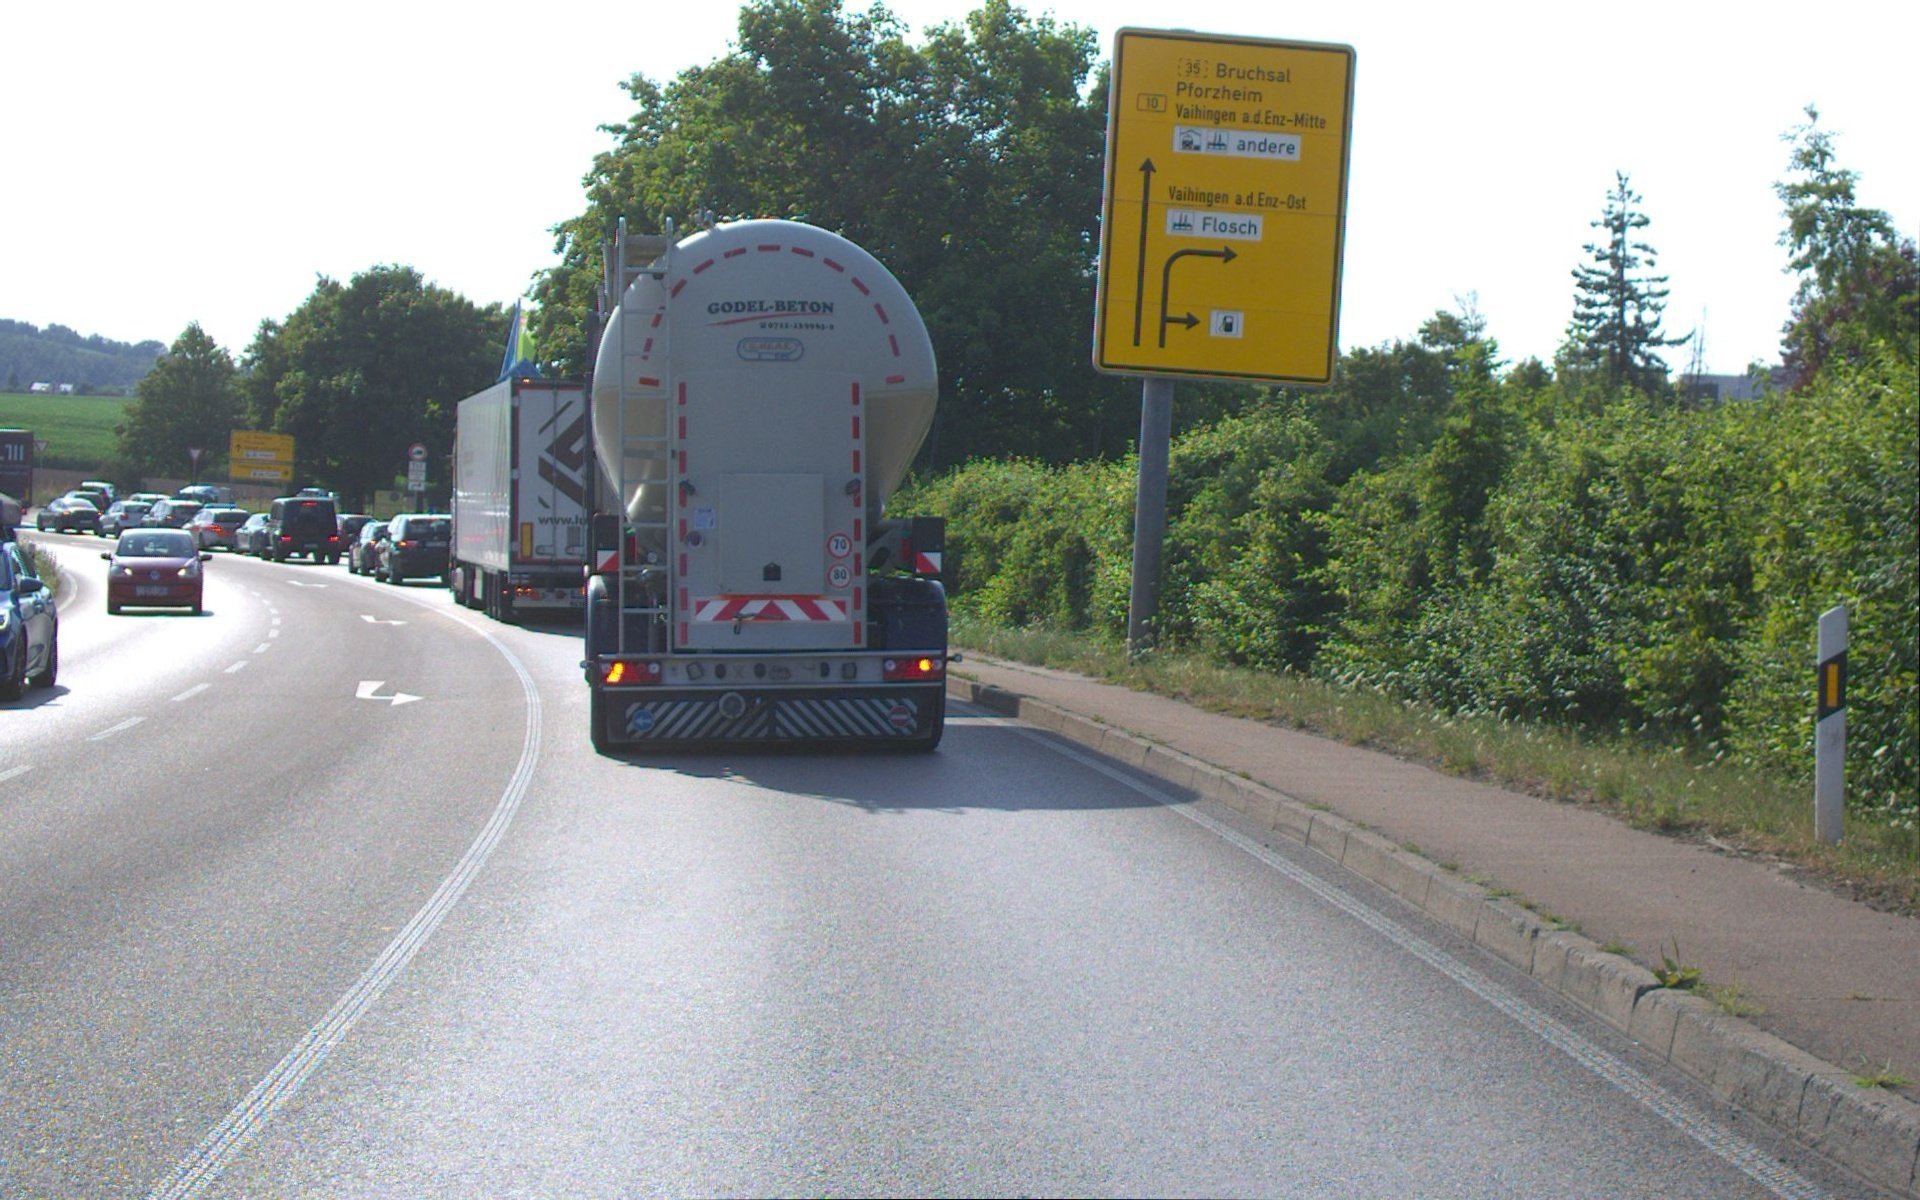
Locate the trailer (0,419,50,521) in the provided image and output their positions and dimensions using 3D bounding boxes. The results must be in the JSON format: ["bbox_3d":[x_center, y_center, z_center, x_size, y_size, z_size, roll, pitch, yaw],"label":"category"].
[{"bbox_3d":[-44.850,-5.904,155.125,3.375,4.335,14.295,1,1,-31],"label":"trailer"}]

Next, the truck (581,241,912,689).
[{"bbox_3d":[-2.135,-1.251,32.924,2.909,3.992,4.061,0,1,-7],"label":"truck"}]

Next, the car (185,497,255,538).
[{"bbox_3d":[-25.688,-2.879,119.306,1.580,1.336,3.426,1,1,-26],"label":"car"}]

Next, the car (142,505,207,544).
[{"bbox_3d":[-28.611,-2.765,125.130,1.580,1.336,3.426,1,1,-26],"label":"car"}]

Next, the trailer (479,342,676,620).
[{"bbox_3d":[-7.022,-2.054,61.312,2.954,4.300,14.179,2,1,-8],"label":"trailer"}]

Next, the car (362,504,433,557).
[{"bbox_3d":[-15.036,-1.877,91.804,1.580,1.336,3.427,2,1,-14],"label":"car"}]

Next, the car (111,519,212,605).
[{"bbox_3d":[-14.084,-0.690,60.756,1.585,1.461,3.608,-1,1,-11],"label":"car"}]

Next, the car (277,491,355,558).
[{"bbox_3d":[-19.819,-2.331,105.718,1.861,2.007,3.720,0,2,-19],"label":"car"}]

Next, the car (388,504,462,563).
[{"bbox_3d":[-12.996,-1.626,83.417,1.580,1.336,3.427,2,1,-12],"label":"car"}]

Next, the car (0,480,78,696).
[{"bbox_3d":[-9.373,-0.145,31.909,1.724,1.876,4.337,-1,1,-7],"label":"car"}]

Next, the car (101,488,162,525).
[{"bbox_3d":[-32.002,-3.614,132.804,1.580,1.336,3.426,1,1,-26],"label":"car"}]

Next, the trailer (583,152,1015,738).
[{"bbox_3d":[-1.644,-1.166,28.602,2.909,3.992,9.932,0,1,-6],"label":"trailer"}]

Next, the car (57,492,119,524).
[{"bbox_3d":[-35.260,-3.714,138.955,1.769,1.201,3.426,1,1,-26],"label":"car"}]
